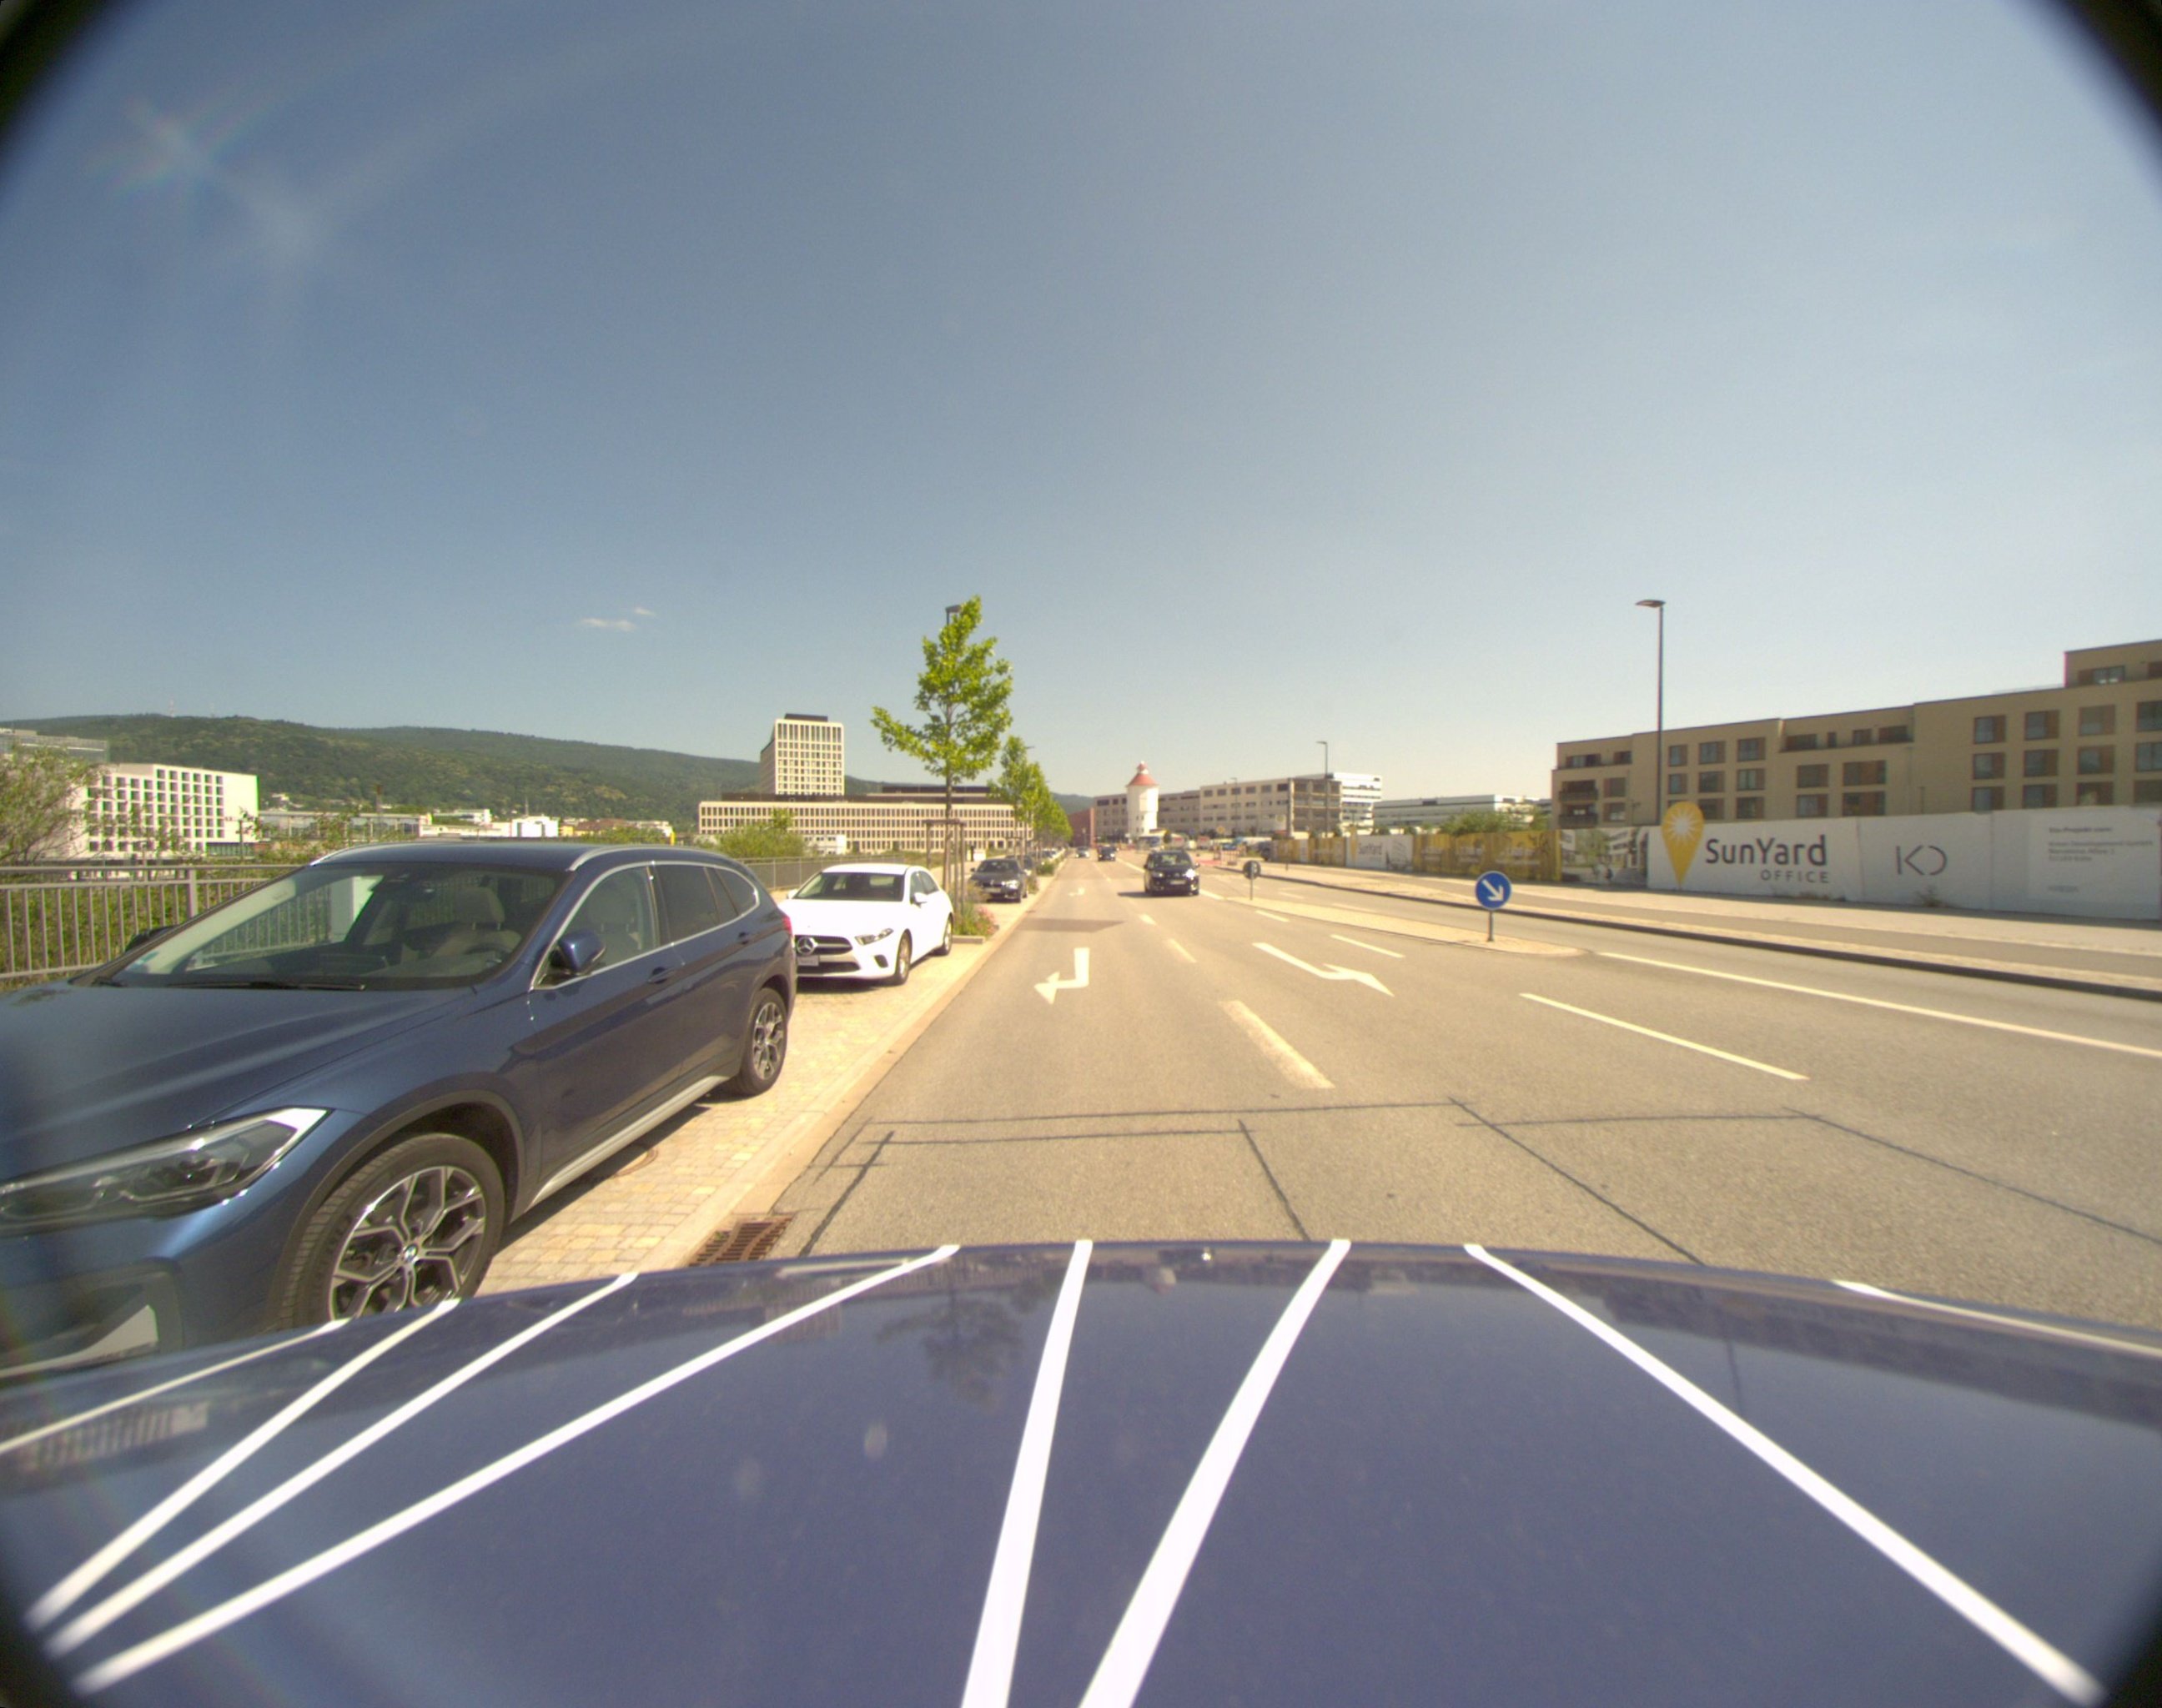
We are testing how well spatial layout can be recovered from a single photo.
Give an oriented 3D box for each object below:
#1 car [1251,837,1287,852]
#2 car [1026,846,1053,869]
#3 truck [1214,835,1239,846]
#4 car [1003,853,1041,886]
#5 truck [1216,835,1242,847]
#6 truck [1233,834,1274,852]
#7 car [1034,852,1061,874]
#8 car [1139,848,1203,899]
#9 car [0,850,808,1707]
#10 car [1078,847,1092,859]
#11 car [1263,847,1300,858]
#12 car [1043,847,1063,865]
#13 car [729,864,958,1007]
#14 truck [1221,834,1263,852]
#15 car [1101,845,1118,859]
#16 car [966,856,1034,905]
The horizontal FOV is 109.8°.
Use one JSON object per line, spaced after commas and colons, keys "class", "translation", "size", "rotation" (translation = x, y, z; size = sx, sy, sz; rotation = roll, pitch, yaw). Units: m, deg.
{"class": "car", "translation": [23.332, -1.175, 94.541], "size": [3.930, 1.708, 1.891], "rotation": [-2, 1, -5]}
{"class": "car", "translation": [-3.206, 0.238, 59.084], "size": [1.768, 1.609, 3.374], "rotation": [-3, 1, 0]}
{"class": "truck", "translation": [35.085, -3.282, 183.189], "size": [5.412, 2.461, 1.999], "rotation": [-2, 1, -1]}
{"class": "car", "translation": [-2.800, 0.707, 36.586], "size": [1.569, 1.465, 3.006], "rotation": [2, 1, 0]}
{"class": "truck", "translation": [34.127, -2.939, 175.369], "size": [5.333, 2.461, 1.999], "rotation": [-2, 1, -4]}
{"class": "truck", "translation": [23.521, -1.486, 103.811], "size": [5.004, 2.215, 1.999], "rotation": [-2, 1, -1]}
{"class": "car", "translation": [-2.103, 0.572, 48.536], "size": [1.490, 1.302, 3.155], "rotation": [2, 1, 0]}
{"class": "car", "translation": [3.205, 0.640, 27.664], "size": [1.808, 1.613, 3.916], "rotation": [-3, 1, 0]}
{"class": "car", "translation": [-2.904, 0.854, 3.377], "size": [1.808, 1.673, 4.270], "rotation": [1, 1, 0]}
{"class": "car", "translation": [0.566, -0.158, 101.299], "size": [1.819, 1.458, 4.346], "rotation": [-2, 1, 1]}
{"class": "car", "translation": [19.997, -0.136, 75.854], "size": [3.359, 0.947, 1.293], "rotation": [-2, 1, 3]}
{"class": "car", "translation": [-2.514, 0.188, 68.903], "size": [1.525, 1.482, 3.504], "rotation": [-3, 1, 0]}
{"class": "car", "translation": [-2.906, 0.908, 10.317], "size": [1.710, 1.366, 4.270], "rotation": [2, 1, 0]}
{"class": "truck", "translation": [23.505, -1.624, 111.199], "size": [5.633, 2.461, 1.999], "rotation": [-2, 1, -4]}
{"class": "car", "translation": [2.980, -0.238, 80.087], "size": [1.709, 1.404, 4.000], "rotation": [-1, 1, 1]}
{"class": "car", "translation": [-2.672, 0.831, 25.872], "size": [1.808, 1.424, 3.916], "rotation": [2, 1, 0]}
